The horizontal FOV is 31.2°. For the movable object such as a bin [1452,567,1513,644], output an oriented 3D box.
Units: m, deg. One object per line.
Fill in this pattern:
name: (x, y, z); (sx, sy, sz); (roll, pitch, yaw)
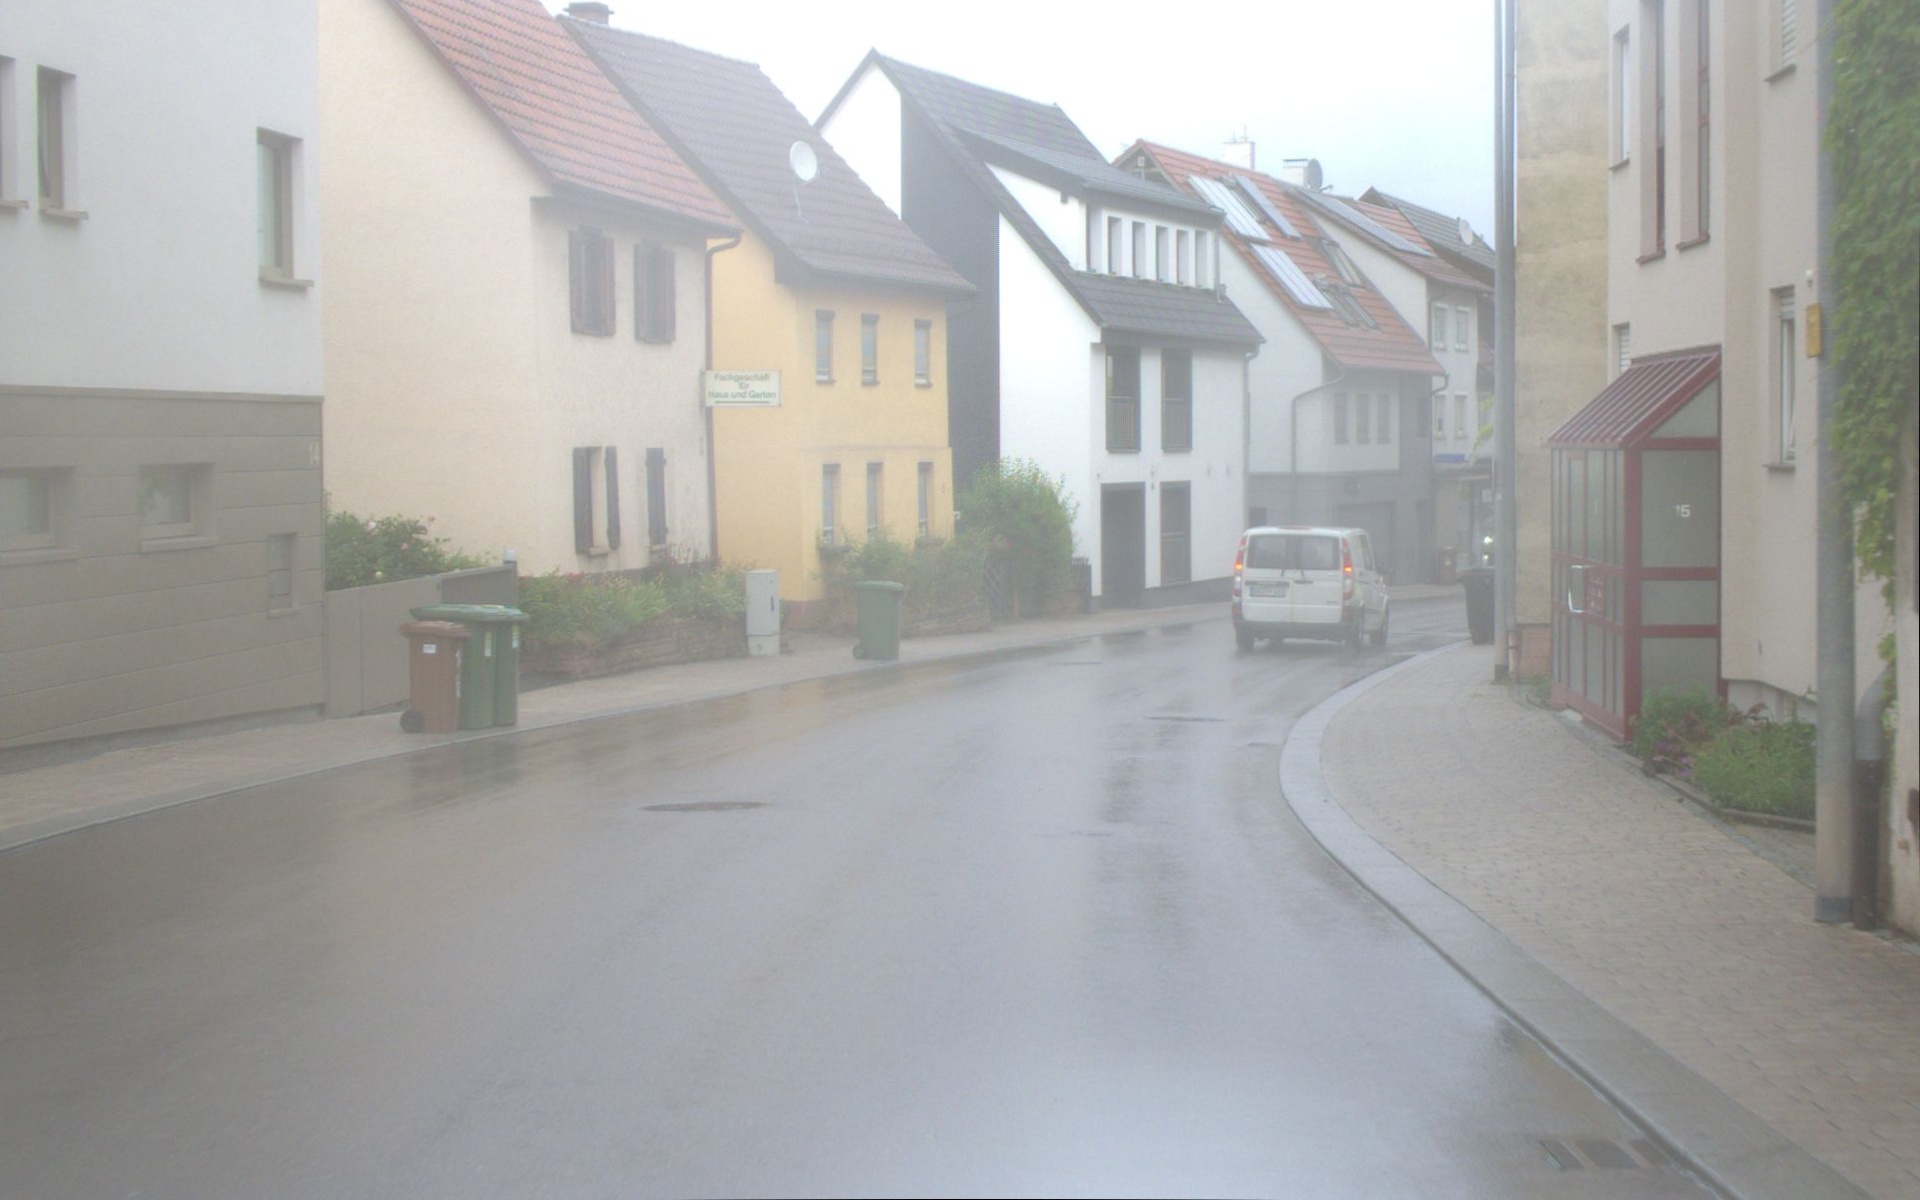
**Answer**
movable object such as a bin: (8.149, 0.078, 53.625); (0.767, 1.169, 1.540); (1, 1, 15)

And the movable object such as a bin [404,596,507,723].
movable object such as a bin: (-4.364, 0.507, 29.768); (0.682, 1.063, 0.694); (1, 1, 9)

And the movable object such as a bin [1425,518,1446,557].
movable object such as a bin: (13.542, -1.772, 97.856); (0.518, 1.118, 0.635); (1, 1, 13)

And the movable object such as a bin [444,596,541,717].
movable object such as a bin: (-4.156, 0.498, 30.586); (0.682, 1.042, 0.661); (1, 1, 9)

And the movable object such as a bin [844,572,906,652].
movable object such as a bin: (-1.160, 0.160, 47.117); (0.660, 1.052, 0.763); (3, 1, 11)

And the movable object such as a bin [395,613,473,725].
movable object such as a bin: (-4.448, 0.578, 29.084); (0.506, 0.919, 0.579); (1, 1, 7)

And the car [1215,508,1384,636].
car: (5.216, -0.437, 52.388); (2.196, 1.845, 4.302); (0, 1, 11)
